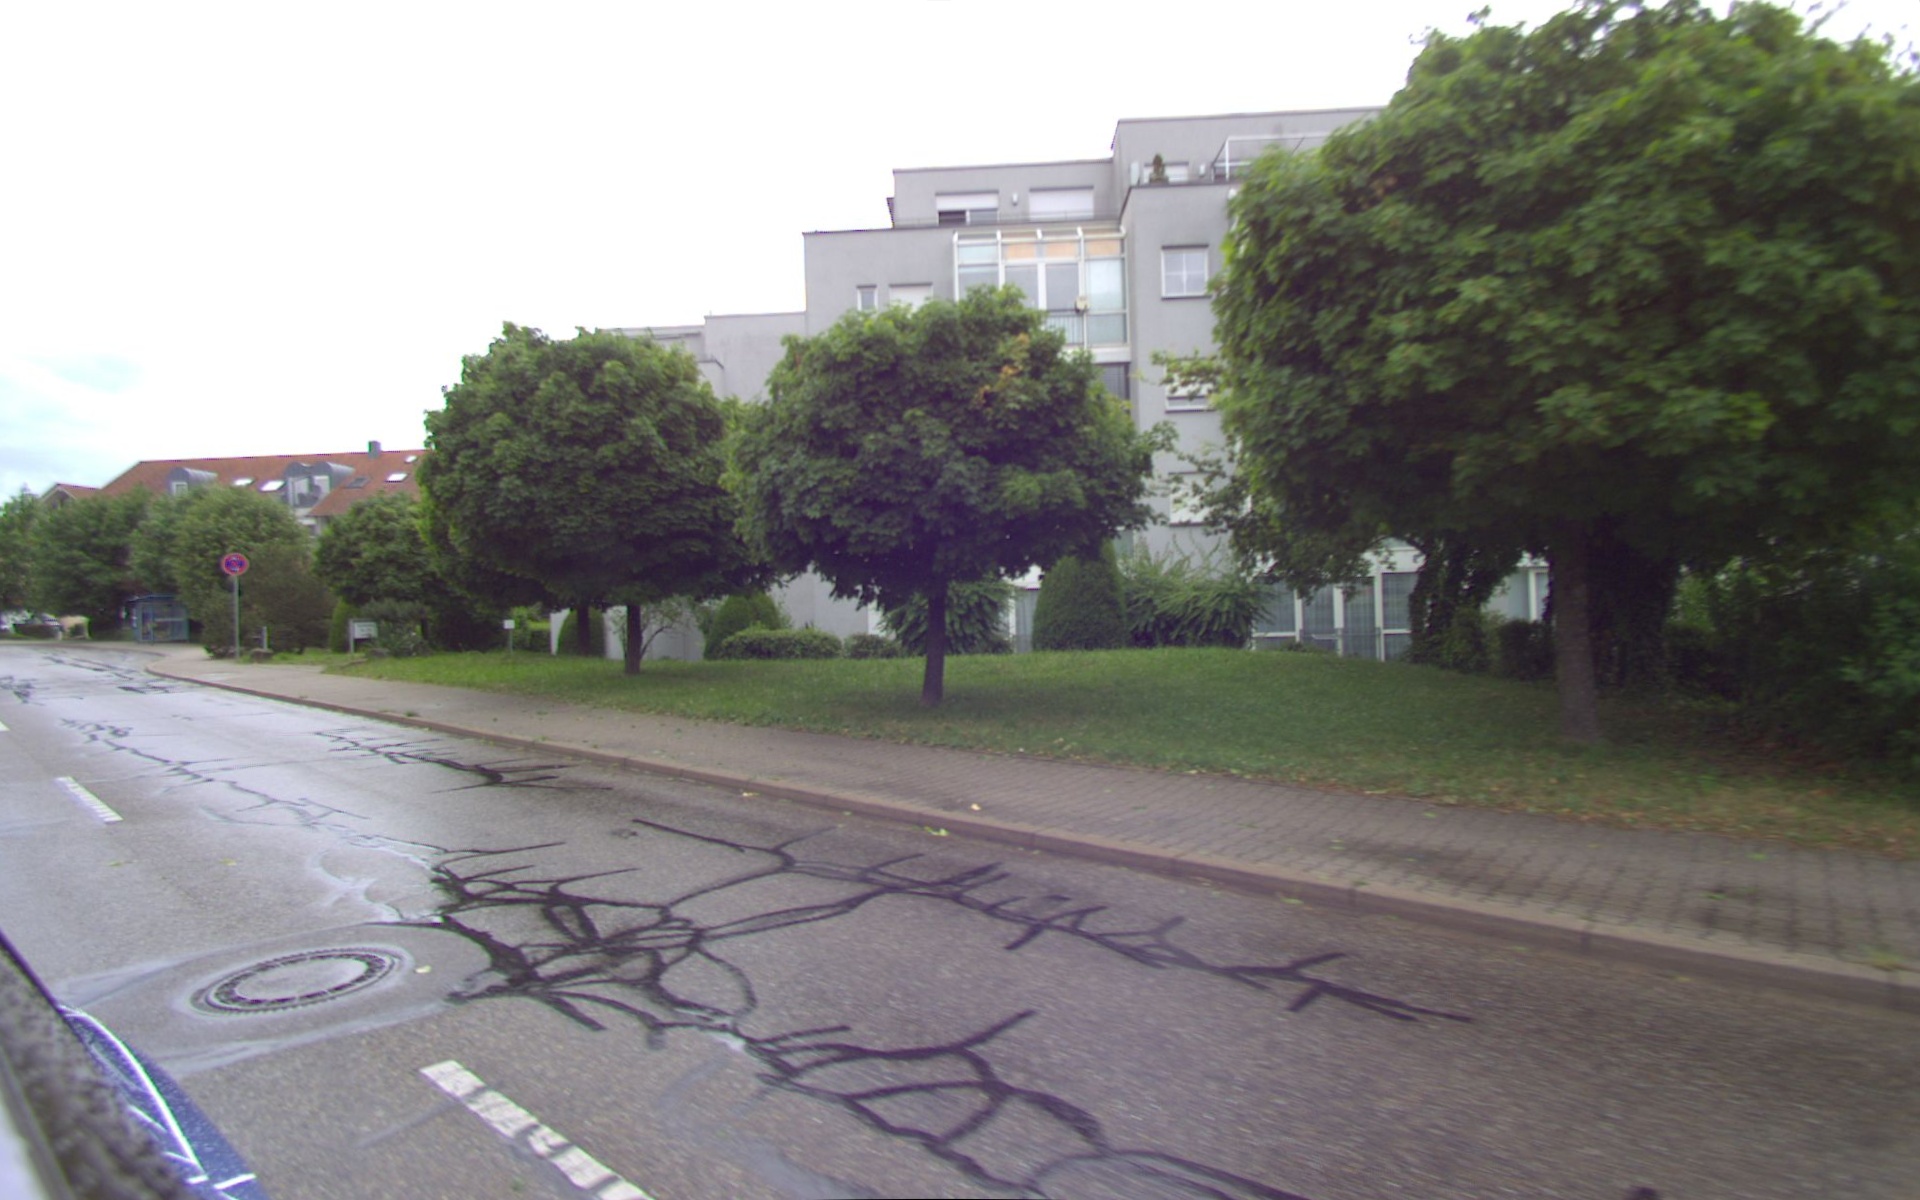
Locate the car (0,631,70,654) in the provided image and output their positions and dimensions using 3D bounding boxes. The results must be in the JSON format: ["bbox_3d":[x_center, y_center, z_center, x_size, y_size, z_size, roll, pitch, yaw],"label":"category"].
[{"bbox_3d":[-70.473,3.238,77.104,3.946,1.613,1.737,-1,-1,2],"label":"car"}]
